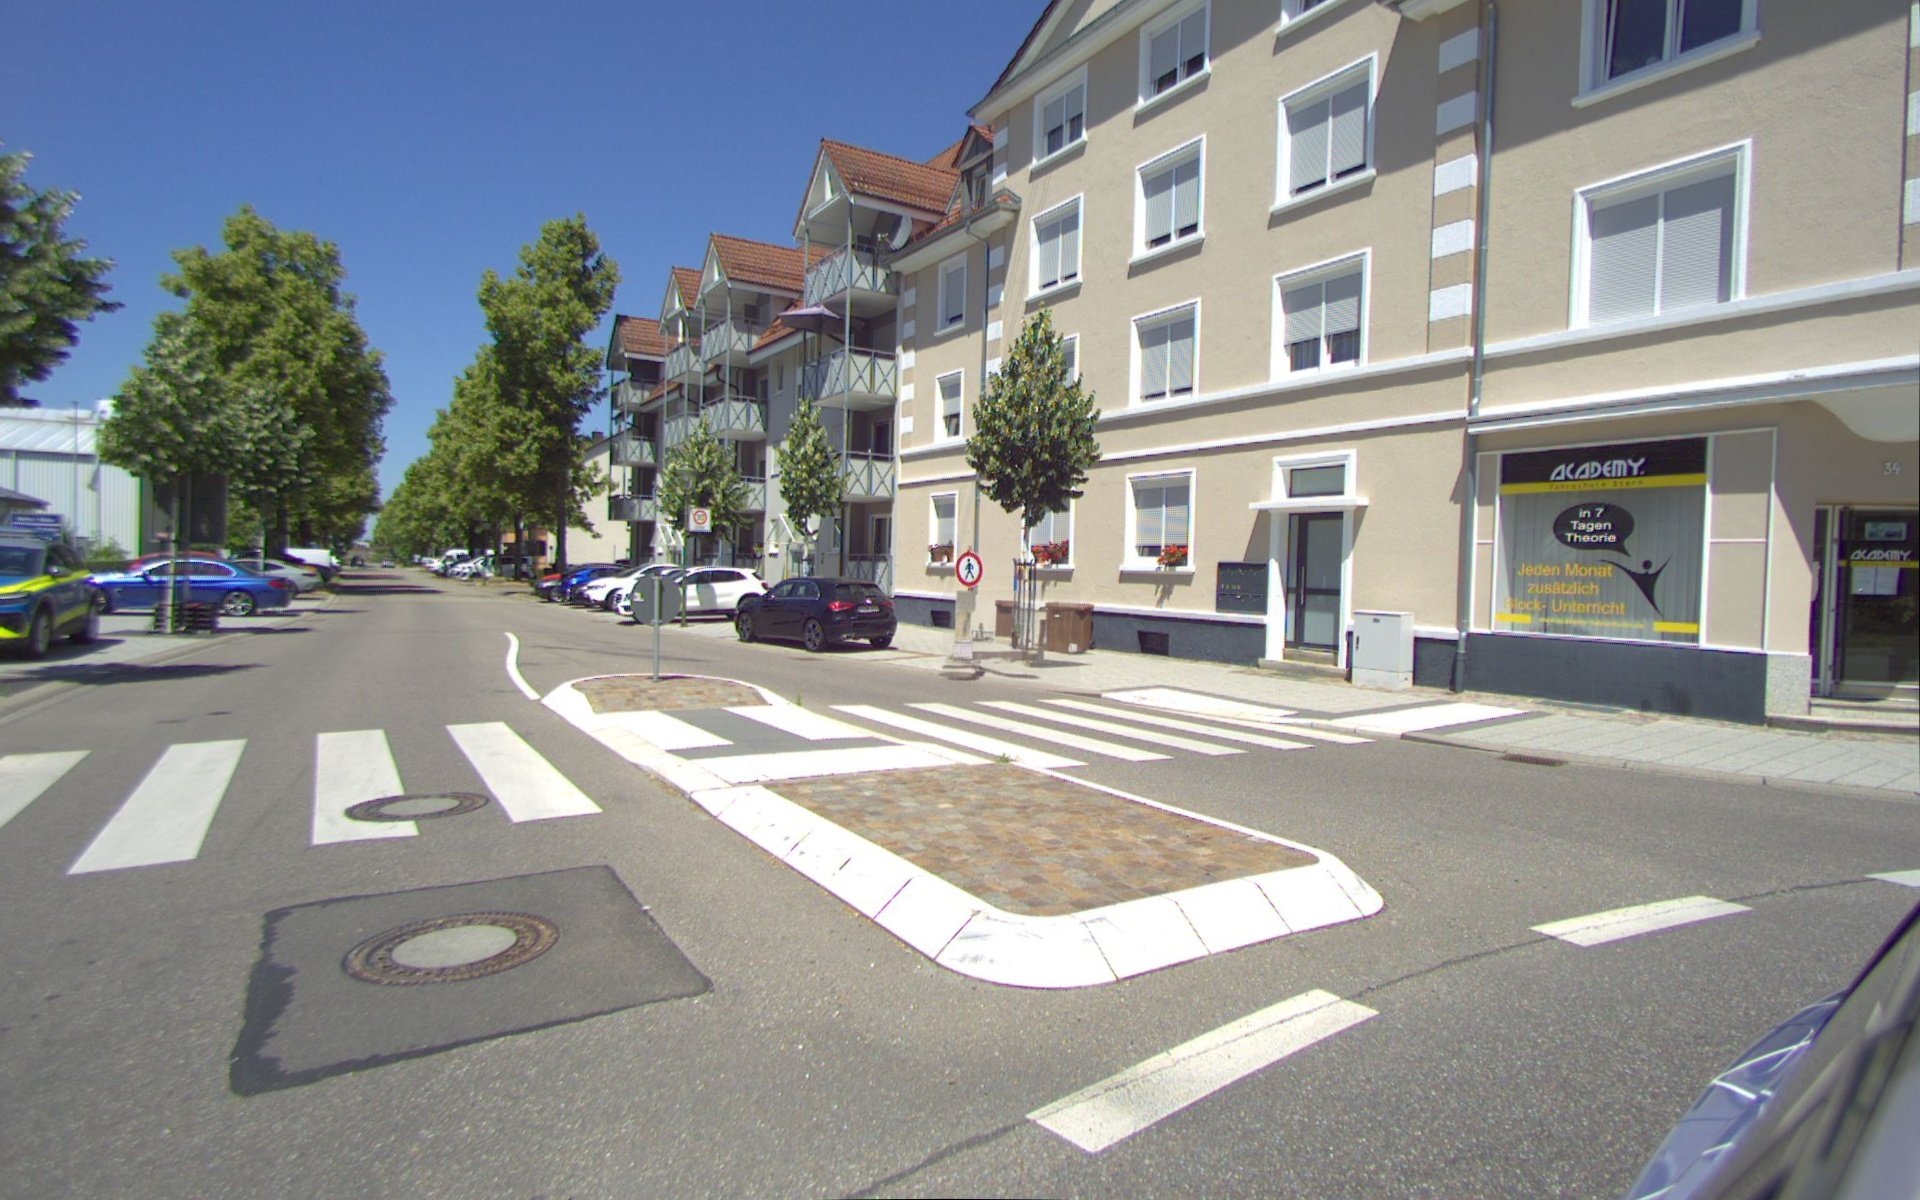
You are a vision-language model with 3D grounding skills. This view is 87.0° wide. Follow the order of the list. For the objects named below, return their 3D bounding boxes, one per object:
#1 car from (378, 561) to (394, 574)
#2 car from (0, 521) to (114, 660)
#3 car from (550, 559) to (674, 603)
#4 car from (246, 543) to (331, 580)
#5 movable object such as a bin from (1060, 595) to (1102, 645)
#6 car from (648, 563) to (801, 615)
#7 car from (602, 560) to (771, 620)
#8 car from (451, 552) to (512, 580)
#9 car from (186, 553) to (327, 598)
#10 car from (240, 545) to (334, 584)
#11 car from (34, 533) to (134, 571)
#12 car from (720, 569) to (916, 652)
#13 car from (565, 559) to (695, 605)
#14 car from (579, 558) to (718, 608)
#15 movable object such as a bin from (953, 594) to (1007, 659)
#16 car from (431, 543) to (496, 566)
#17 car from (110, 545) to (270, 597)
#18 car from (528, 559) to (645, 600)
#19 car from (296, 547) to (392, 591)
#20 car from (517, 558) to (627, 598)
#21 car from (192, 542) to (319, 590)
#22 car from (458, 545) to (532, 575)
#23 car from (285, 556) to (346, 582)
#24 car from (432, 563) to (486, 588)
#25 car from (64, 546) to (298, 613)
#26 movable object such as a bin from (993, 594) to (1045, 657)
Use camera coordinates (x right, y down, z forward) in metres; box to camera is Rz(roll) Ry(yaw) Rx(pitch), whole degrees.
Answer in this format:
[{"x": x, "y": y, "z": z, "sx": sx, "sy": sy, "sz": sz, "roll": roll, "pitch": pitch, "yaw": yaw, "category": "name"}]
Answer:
[{"x": -89.335, "y": -5.093, "z": 157.379, "sx": 1.961, "sy": 2.038, "sz": 4.003, "roll": 0, "pitch": 2, "yaw": -33, "category": "car"}, {"x": -13.773, "y": -0.201, "z": 14.402, "sx": 1.868, "sy": 1.765, "sz": 4.255, "roll": 2, "pitch": 1, "yaw": -29, "category": "car"}, {"x": -13.400, "y": -0.763, "z": 39.019, "sx": 4.210, "sy": 1.595, "sz": 1.909, "roll": -1, "pitch": 3, "yaw": -30, "category": "car"}, {"x": -38.137, "y": -2.186, "z": 57.599, "sx": 3.920, "sy": 1.882, "sz": 2.003, "roll": 1, "pitch": 4, "yaw": -31, "category": "car"}, {"x": 2.449, "y": 0.396, "z": 20.497, "sx": 0.645, "sy": 0.946, "sz": 0.579, "roll": -2, "pitch": 3, "yaw": -41, "category": "movable object such as a bin"}, {"x": -7.189, "y": -0.379, "z": 31.000, "sx": 4.210, "sy": 1.453, "sz": 1.909, "roll": -1, "pitch": 3, "yaw": -30, "category": "car"}, {"x": -7.646, "y": -0.333, "z": 28.347, "sx": 4.210, "sy": 1.542, "sz": 1.909, "roll": -1, "pitch": 3, "yaw": -30, "category": "car"}, {"x": -36.421, "y": -2.601, "z": 77.082, "sx": 3.925, "sy": 2.039, "sz": 2.000, "roll": 0, "pitch": 1, "yaw": -36, "category": "car"}, {"x": -24.793, "y": -0.857, "z": 35.861, "sx": 3.920, "sy": 1.465, "sz": 2.002, "roll": 0, "pitch": 1, "yaw": -31, "category": "car"}, {"x": -35.047, "y": -1.825, "z": 52.838, "sx": 3.920, "sy": 1.883, "sz": 2.002, "roll": 1, "pitch": 0, "yaw": -31, "category": "car"}, {"x": -49.801, "y": -2.697, "z": 57.637, "sx": 3.919, "sy": 1.883, "sz": 2.002, "roll": 2, "pitch": -1, "yaw": -29, "category": "car"}, {"x": -3.008, "y": 0.131, "z": 20.927, "sx": 4.160, "sy": 1.453, "sz": 1.876, "roll": 3, "pitch": 3, "yaw": 44, "category": "car"}, {"x": -12.045, "y": -0.705, "z": 36.953, "sx": 4.210, "sy": 1.595, "sz": 1.909, "roll": -1, "pitch": 3, "yaw": -30, "category": "car"}, {"x": -10.625, "y": -0.637, "z": 34.575, "sx": 4.210, "sy": 1.595, "sz": 1.909, "roll": -1, "pitch": 3, "yaw": -30, "category": "car"}, {"x": 0.349, "y": 0.452, "z": 17.645, "sx": 0.658, "sy": 1.068, "sz": 0.704, "roll": -2, "pitch": 3, "yaw": -34, "category": "movable object such as a bin"}, {"x": -46.070, "y": -4.192, "z": 93.966, "sx": 5.172, "sy": 2.038, "sz": 2.238, "roll": 0, "pitch": 2, "yaw": -33, "category": "car"}, {"x": -24.968, "y": -0.924, "z": 33.028, "sx": 3.920, "sy": 1.549, "sz": 2.002, "roll": 0, "pitch": 1, "yaw": -31, "category": "car"}, {"x": -15.267, "y": -0.878, "z": 41.402, "sx": 4.210, "sy": 1.595, "sz": 1.909, "roll": -1, "pitch": 3, "yaw": -30, "category": "car"}, {"x": -30.019, "y": -1.488, "z": 49.410, "sx": 3.921, "sy": 2.039, "sz": 2.001, "roll": 0, "pitch": 0, "yaw": -32, "category": "car"}, {"x": -16.850, "y": -1.001, "z": 44.022, "sx": 4.210, "sy": 1.661, "sz": 1.909, "roll": -1, "pitch": 3, "yaw": -30, "category": "car"}, {"x": -27.999, "y": -1.333, "z": 40.386, "sx": 3.918, "sy": 1.805, "sz": 2.004, "roll": 0, "pitch": 2, "yaw": -27, "category": "car"}, {"x": -33.804, "y": -2.882, "z": 73.663, "sx": 4.651, "sy": 2.038, "sz": 2.001, "roll": 0, "pitch": 2, "yaw": -33, "category": "car"}, {"x": -50.721, "y": -2.427, "z": 79.743, "sx": 3.920, "sy": 1.882, "sz": 2.003, "roll": 1, "pitch": 4, "yaw": -31, "category": "car"}, {"x": -43.774, "y": -2.128, "z": 88.452, "sx": 3.925, "sy": 2.039, "sz": 2.000, "roll": 0, "pitch": 1, "yaw": -36, "category": "car"}, {"x": -18.808, "y": -0.434, "z": 24.751, "sx": 4.383, "sy": 1.499, "sz": 1.906, "roll": 0, "pitch": -1, "yaw": -34, "category": "car"}, {"x": 1.055, "y": 0.443, "z": 18.093, "sx": 0.630, "sy": 1.068, "sz": 0.704, "roll": -1, "pitch": 2, "yaw": -34, "category": "movable object such as a bin"}]
